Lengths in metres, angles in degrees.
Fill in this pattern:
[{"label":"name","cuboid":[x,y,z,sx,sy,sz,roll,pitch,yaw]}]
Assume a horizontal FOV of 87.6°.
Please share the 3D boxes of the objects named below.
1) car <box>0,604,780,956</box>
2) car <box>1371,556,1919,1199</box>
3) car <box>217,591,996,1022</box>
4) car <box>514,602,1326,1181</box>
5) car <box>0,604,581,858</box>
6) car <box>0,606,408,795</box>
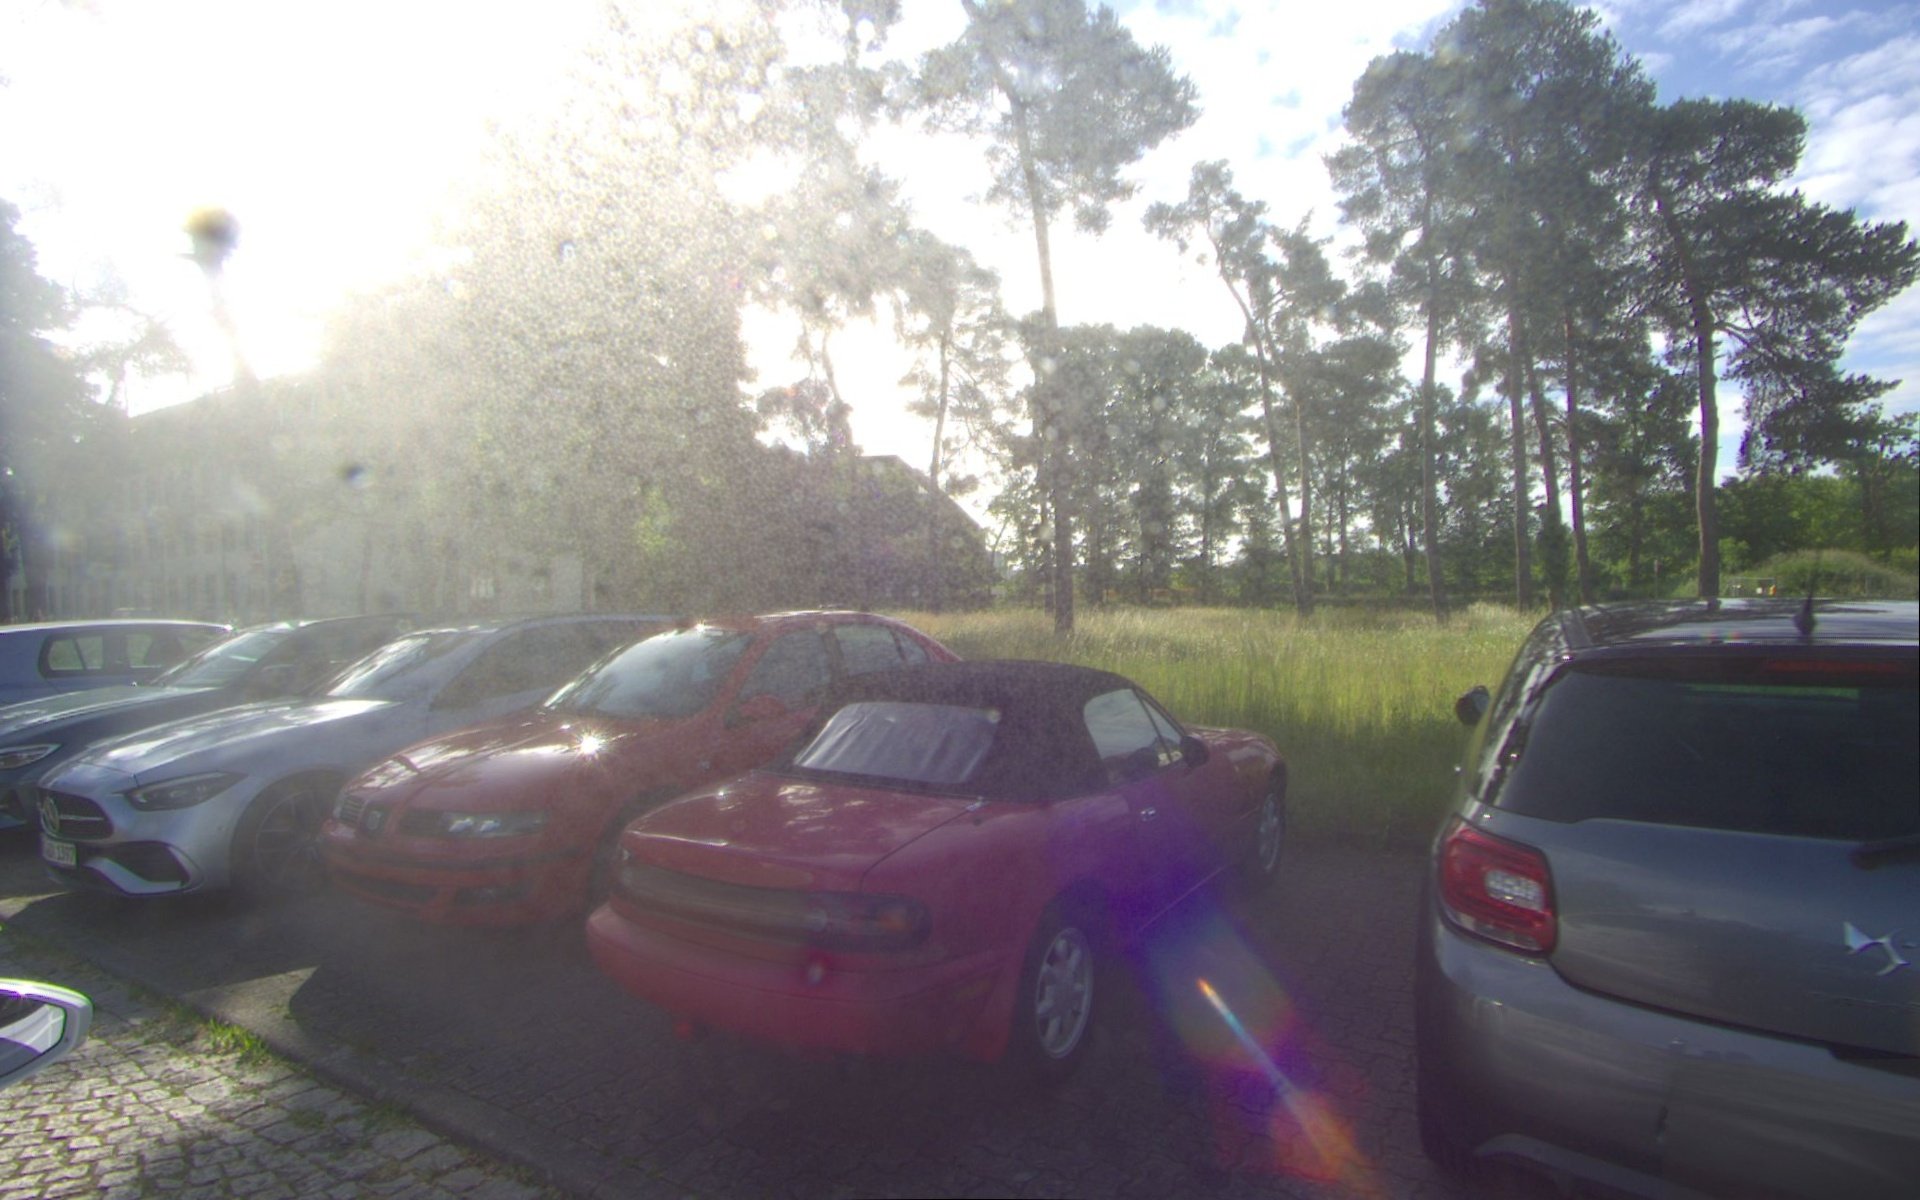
[{"label":"car","cuboid":[-3.425,0.829,6.856,1.755,1.434,4.420,0,2,33]},{"label":"car","cuboid":[2.691,0.603,3.401,1.790,1.469,3.698,0,2,32]},{"label":"car","cuboid":[-1.539,0.746,5.811,1.613,1.469,4.116,0,2,33]},{"label":"car","cuboid":[0.274,0.697,4.371,1.722,1.240,3.697,0,2,33]},{"label":"car","cuboid":[-5.625,0.836,8.321,1.613,1.434,4.547,0,2,33]},{"label":"car","cuboid":[-7.862,0.853,9.912,1.613,1.434,3.871,0,2,33]}]
